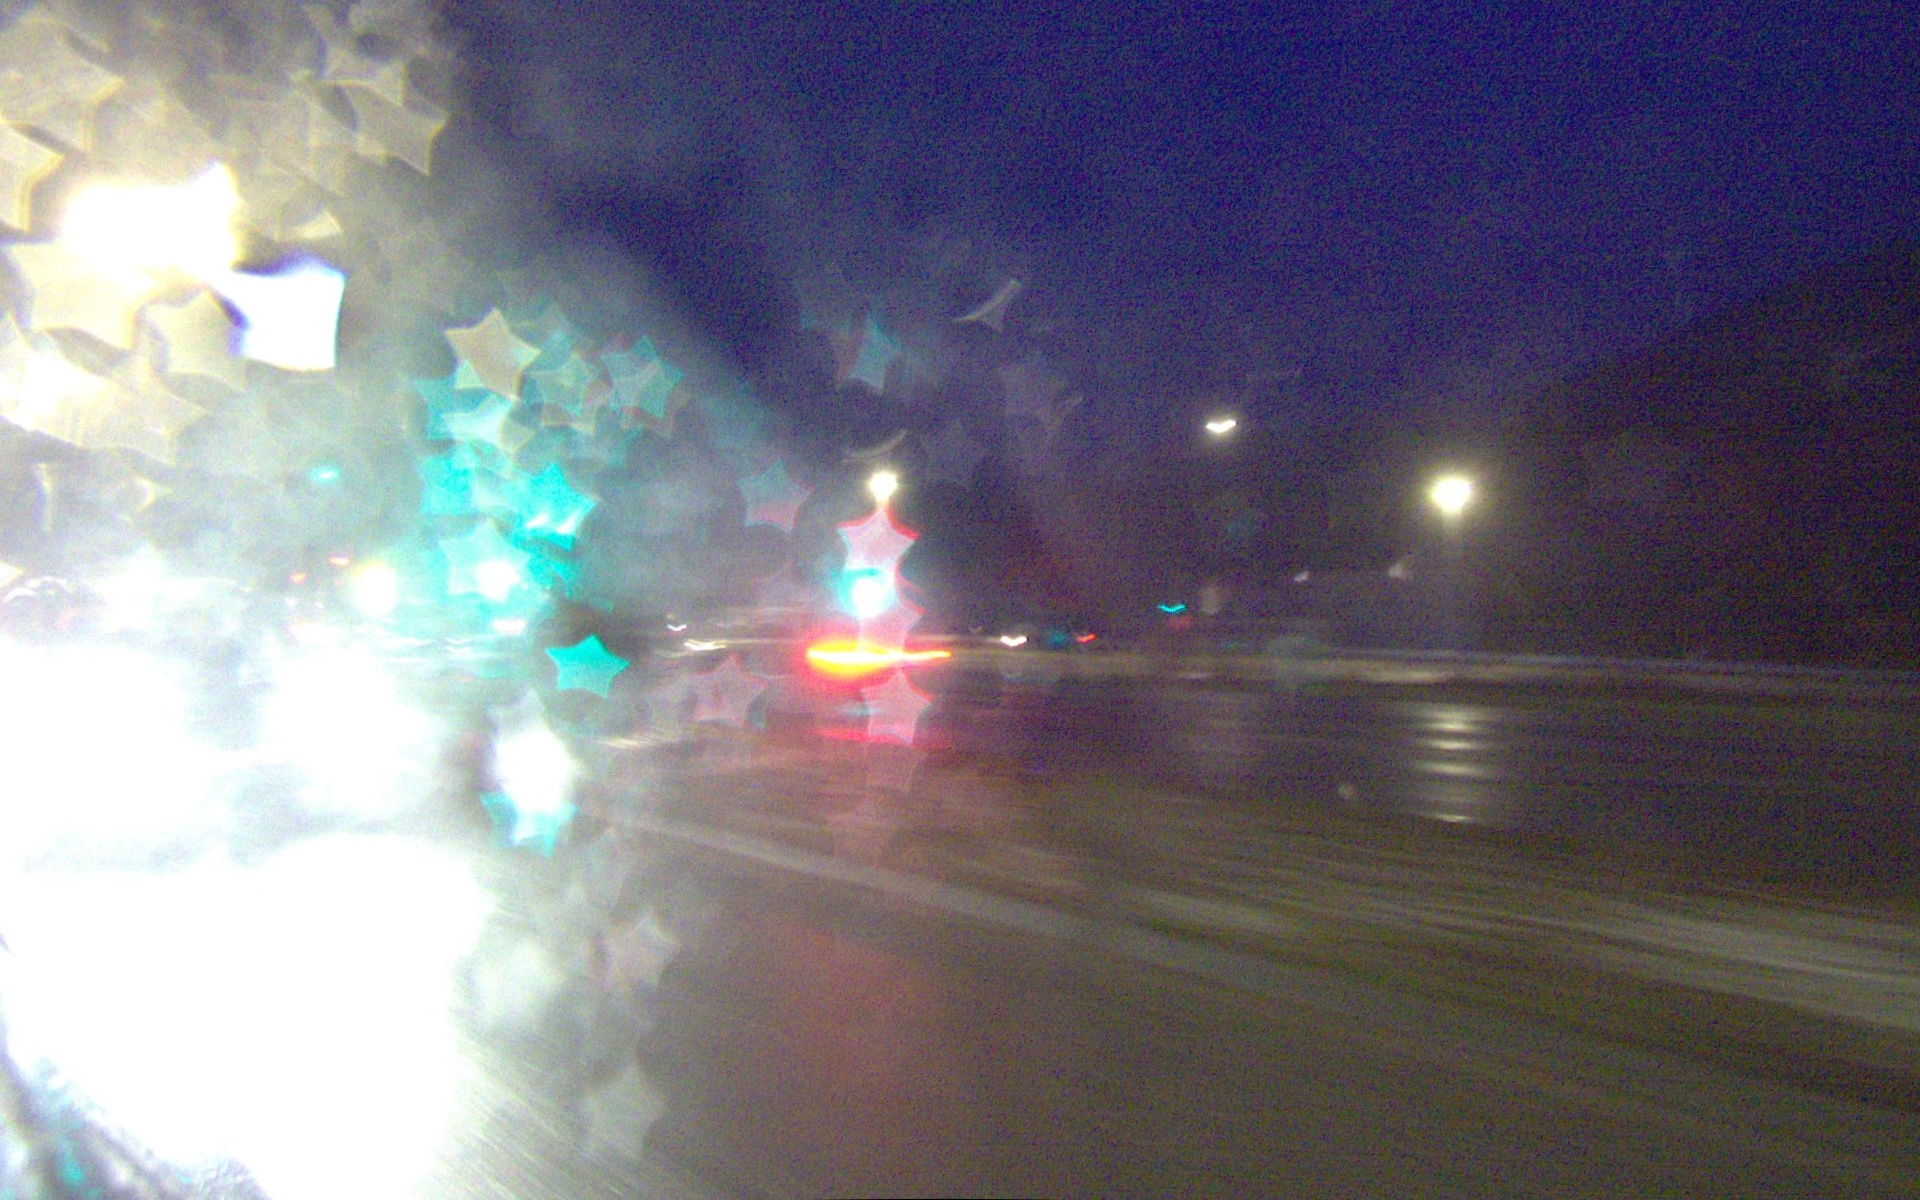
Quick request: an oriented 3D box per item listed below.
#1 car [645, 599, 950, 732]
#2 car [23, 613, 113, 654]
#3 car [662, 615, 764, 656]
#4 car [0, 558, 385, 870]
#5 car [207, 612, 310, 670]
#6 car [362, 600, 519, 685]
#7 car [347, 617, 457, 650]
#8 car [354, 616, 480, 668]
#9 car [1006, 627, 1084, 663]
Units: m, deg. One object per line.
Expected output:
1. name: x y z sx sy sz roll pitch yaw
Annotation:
1. car: -2.414 0.793 14.211 4.598 1.545 1.690 1 0 41
2. car: -36.734 1.337 41.647 4.699 1.583 1.685 0 -1 34
3. car: -12.415 1.778 50.828 4.841 1.954 2.006 1 0 -15
4. car: -6.509 0.670 7.897 4.934 1.717 1.890 -1 -2 40
5. car: -20.570 1.161 29.620 3.649 1.537 1.569 1 0 40
6. car: -11.561 0.868 22.424 4.141 1.716 1.699 0 -1 42
7. car: -26.727 1.580 48.589 4.080 1.460 2.180 1 0 1
8. car: -16.016 1.172 29.753 4.405 1.364 1.700 0 -1 39
9. car: 4.525 2.400 54.188 4.047 1.796 1.998 1 0 3
